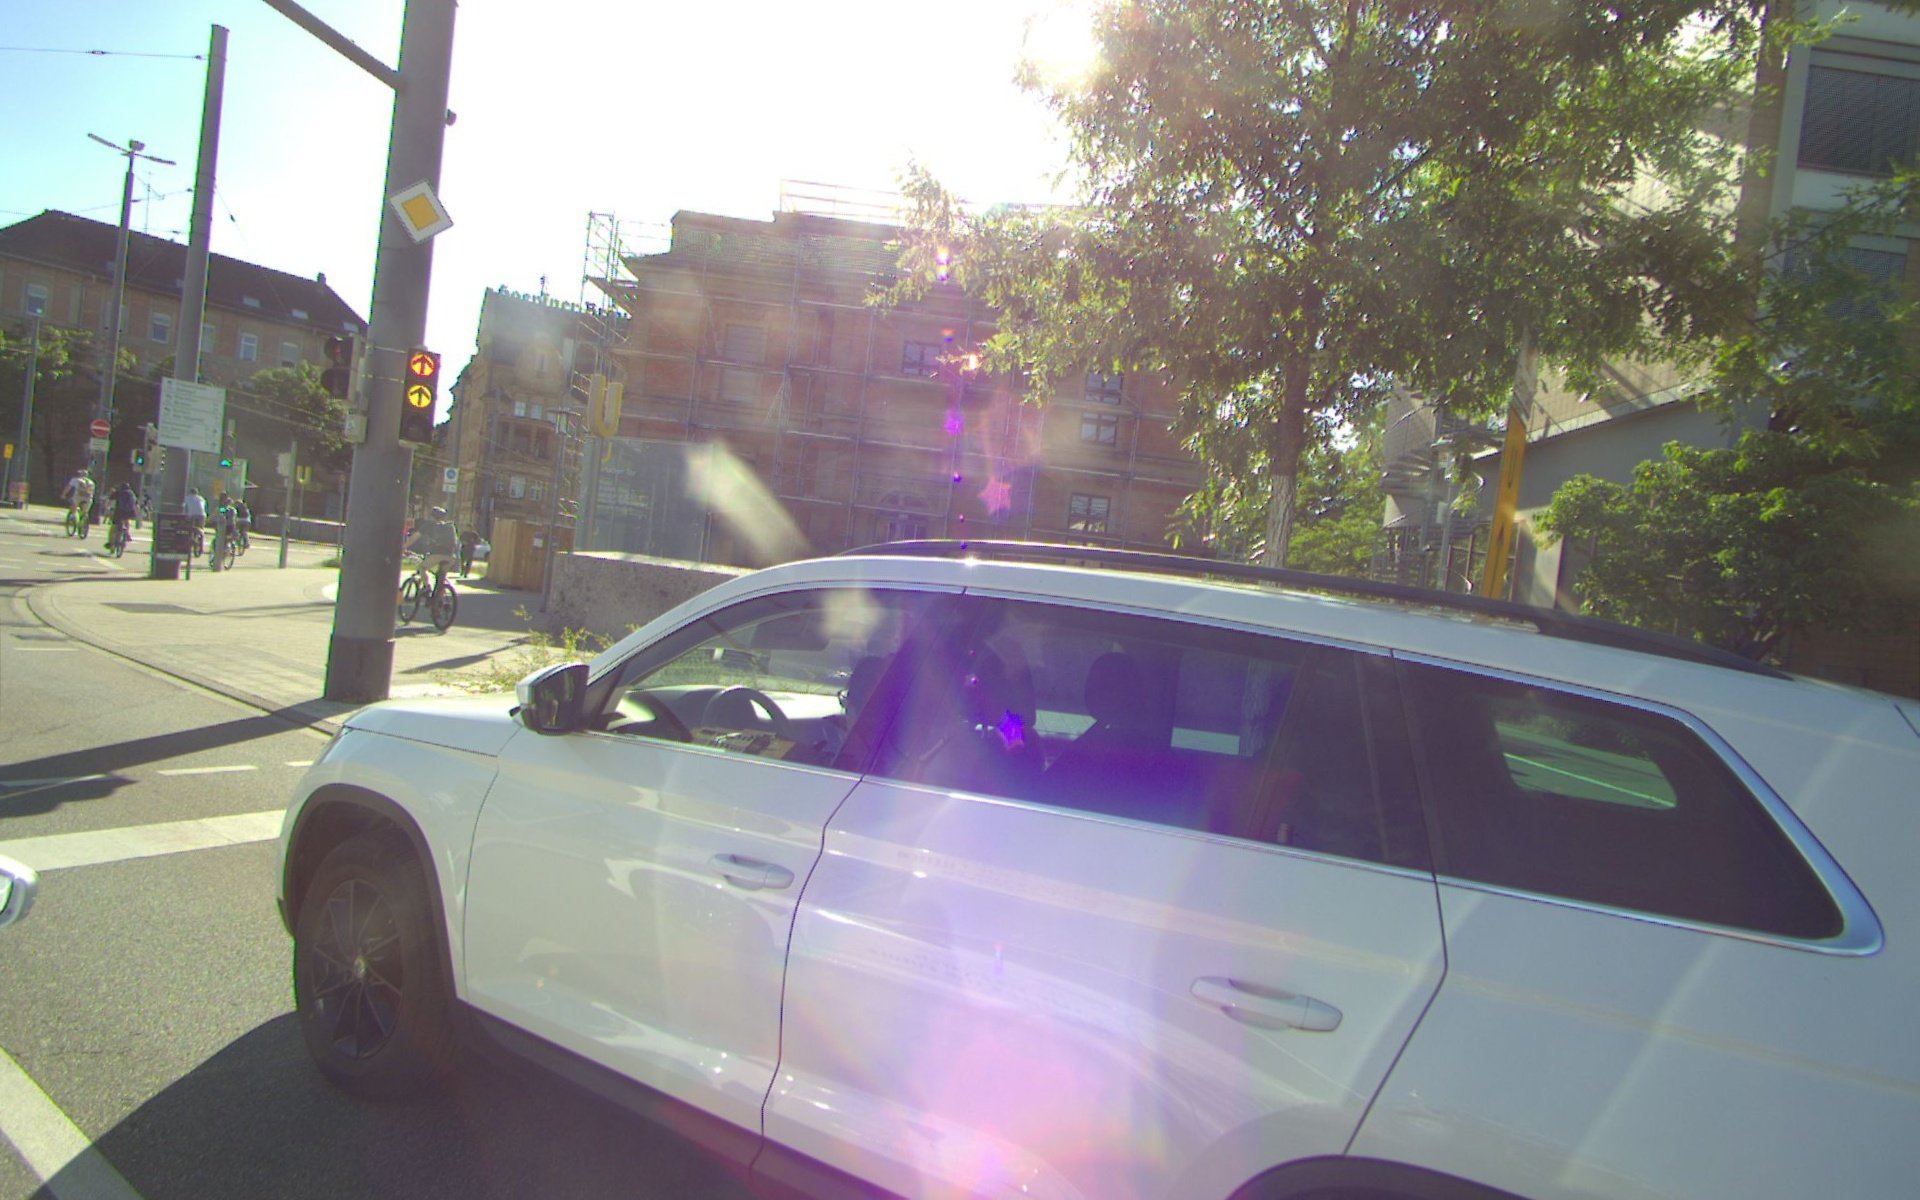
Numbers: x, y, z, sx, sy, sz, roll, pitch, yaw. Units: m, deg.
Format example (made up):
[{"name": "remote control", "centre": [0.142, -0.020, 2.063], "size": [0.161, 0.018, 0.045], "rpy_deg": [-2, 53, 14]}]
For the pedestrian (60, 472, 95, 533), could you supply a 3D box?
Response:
[{"name": "pedestrian", "centre": [-24.436, -2.685, 27.856], "size": [0.545, 1.582, 0.849], "rpy_deg": [6, 1, -38]}]

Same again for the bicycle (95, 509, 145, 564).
[{"name": "bicycle", "centre": [-19.933, -1.520, 23.853], "size": [1.826, 1.127, 0.624], "rpy_deg": [8, 0, 44]}]

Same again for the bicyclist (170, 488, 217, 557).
[{"name": "bicyclist", "centre": [-21.283, -2.145, 27.921], "size": [0.910, 1.802, 0.746], "rpy_deg": [8, 2, 39]}]

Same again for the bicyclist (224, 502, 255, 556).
[{"name": "bicyclist", "centre": [-22.657, -2.237, 31.622], "size": [0.934, 1.589, 0.569], "rpy_deg": [8, 3, 45]}]

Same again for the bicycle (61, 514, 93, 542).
[{"name": "bicycle", "centre": [-24.448, -1.993, 27.870], "size": [0.534, 0.664, 1.707], "rpy_deg": [6, 1, -39]}]

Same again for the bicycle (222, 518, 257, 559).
[{"name": "bicycle", "centre": [-22.636, -1.941, 31.588], "size": [0.569, 1.140, 1.718], "rpy_deg": [4, 3, -45]}]

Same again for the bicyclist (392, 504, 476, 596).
[{"name": "bicyclist", "centre": [-8.144, -0.769, 15.584], "size": [0.892, 1.296, 0.720], "rpy_deg": [7, 3, 32]}]

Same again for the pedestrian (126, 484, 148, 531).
[{"name": "pedestrian", "centre": [-37.641, -4.225, 46.026], "size": [0.443, 2.039, 0.462], "rpy_deg": [7, 2, 14]}]

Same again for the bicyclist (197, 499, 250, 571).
[{"name": "bicyclist", "centre": [-18.045, -1.596, 24.641], "size": [0.962, 1.619, 0.685], "rpy_deg": [7, 1, 36]}]

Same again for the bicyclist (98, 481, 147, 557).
[{"name": "bicyclist", "centre": [-19.855, -1.931, 23.835], "size": [0.982, 1.657, 0.624], "rpy_deg": [8, 0, 44]}]

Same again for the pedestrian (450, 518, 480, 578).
[{"name": "pedestrian", "centre": [-16.507, -1.734, 33.534], "size": [0.693, 1.904, 0.715], "rpy_deg": [6, 1, -27]}]

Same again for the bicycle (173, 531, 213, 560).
[{"name": "bicycle", "centre": [-21.246, -1.506, 27.850], "size": [1.446, 0.664, 0.536], "rpy_deg": [7, 2, 39]}]

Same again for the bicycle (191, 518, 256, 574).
[{"name": "bicycle", "centre": [-18.030, -1.321, 24.615], "size": [1.854, 1.178, 0.685], "rpy_deg": [7, 1, 36]}]

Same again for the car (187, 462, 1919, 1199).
[{"name": "car", "centre": [-0.032, 0.690, 2.710], "size": [4.224, 1.662, 1.697], "rpy_deg": [7, 0, 30]}]

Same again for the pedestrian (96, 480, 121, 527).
[{"name": "pedestrian", "centre": [-39.050, -4.408, 46.123], "size": [0.443, 2.039, 0.574], "rpy_deg": [7, 1, 14]}]

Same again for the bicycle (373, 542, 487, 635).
[{"name": "bicycle", "centre": [-8.200, -0.187, 15.543], "size": [1.804, 1.234, 0.690], "rpy_deg": [7, 3, 32]}]

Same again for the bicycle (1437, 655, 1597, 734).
[{"name": "bicycle", "centre": [13.090, 2.199, 23.742], "size": [3.079, 1.395, 0.798], "rpy_deg": [7, 1, 8]}]

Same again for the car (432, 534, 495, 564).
[{"name": "car", "centre": [-34.649, -3.559, 70.333], "size": [1.766, 1.583, 4.326], "rpy_deg": [7, 0, 7]}]
